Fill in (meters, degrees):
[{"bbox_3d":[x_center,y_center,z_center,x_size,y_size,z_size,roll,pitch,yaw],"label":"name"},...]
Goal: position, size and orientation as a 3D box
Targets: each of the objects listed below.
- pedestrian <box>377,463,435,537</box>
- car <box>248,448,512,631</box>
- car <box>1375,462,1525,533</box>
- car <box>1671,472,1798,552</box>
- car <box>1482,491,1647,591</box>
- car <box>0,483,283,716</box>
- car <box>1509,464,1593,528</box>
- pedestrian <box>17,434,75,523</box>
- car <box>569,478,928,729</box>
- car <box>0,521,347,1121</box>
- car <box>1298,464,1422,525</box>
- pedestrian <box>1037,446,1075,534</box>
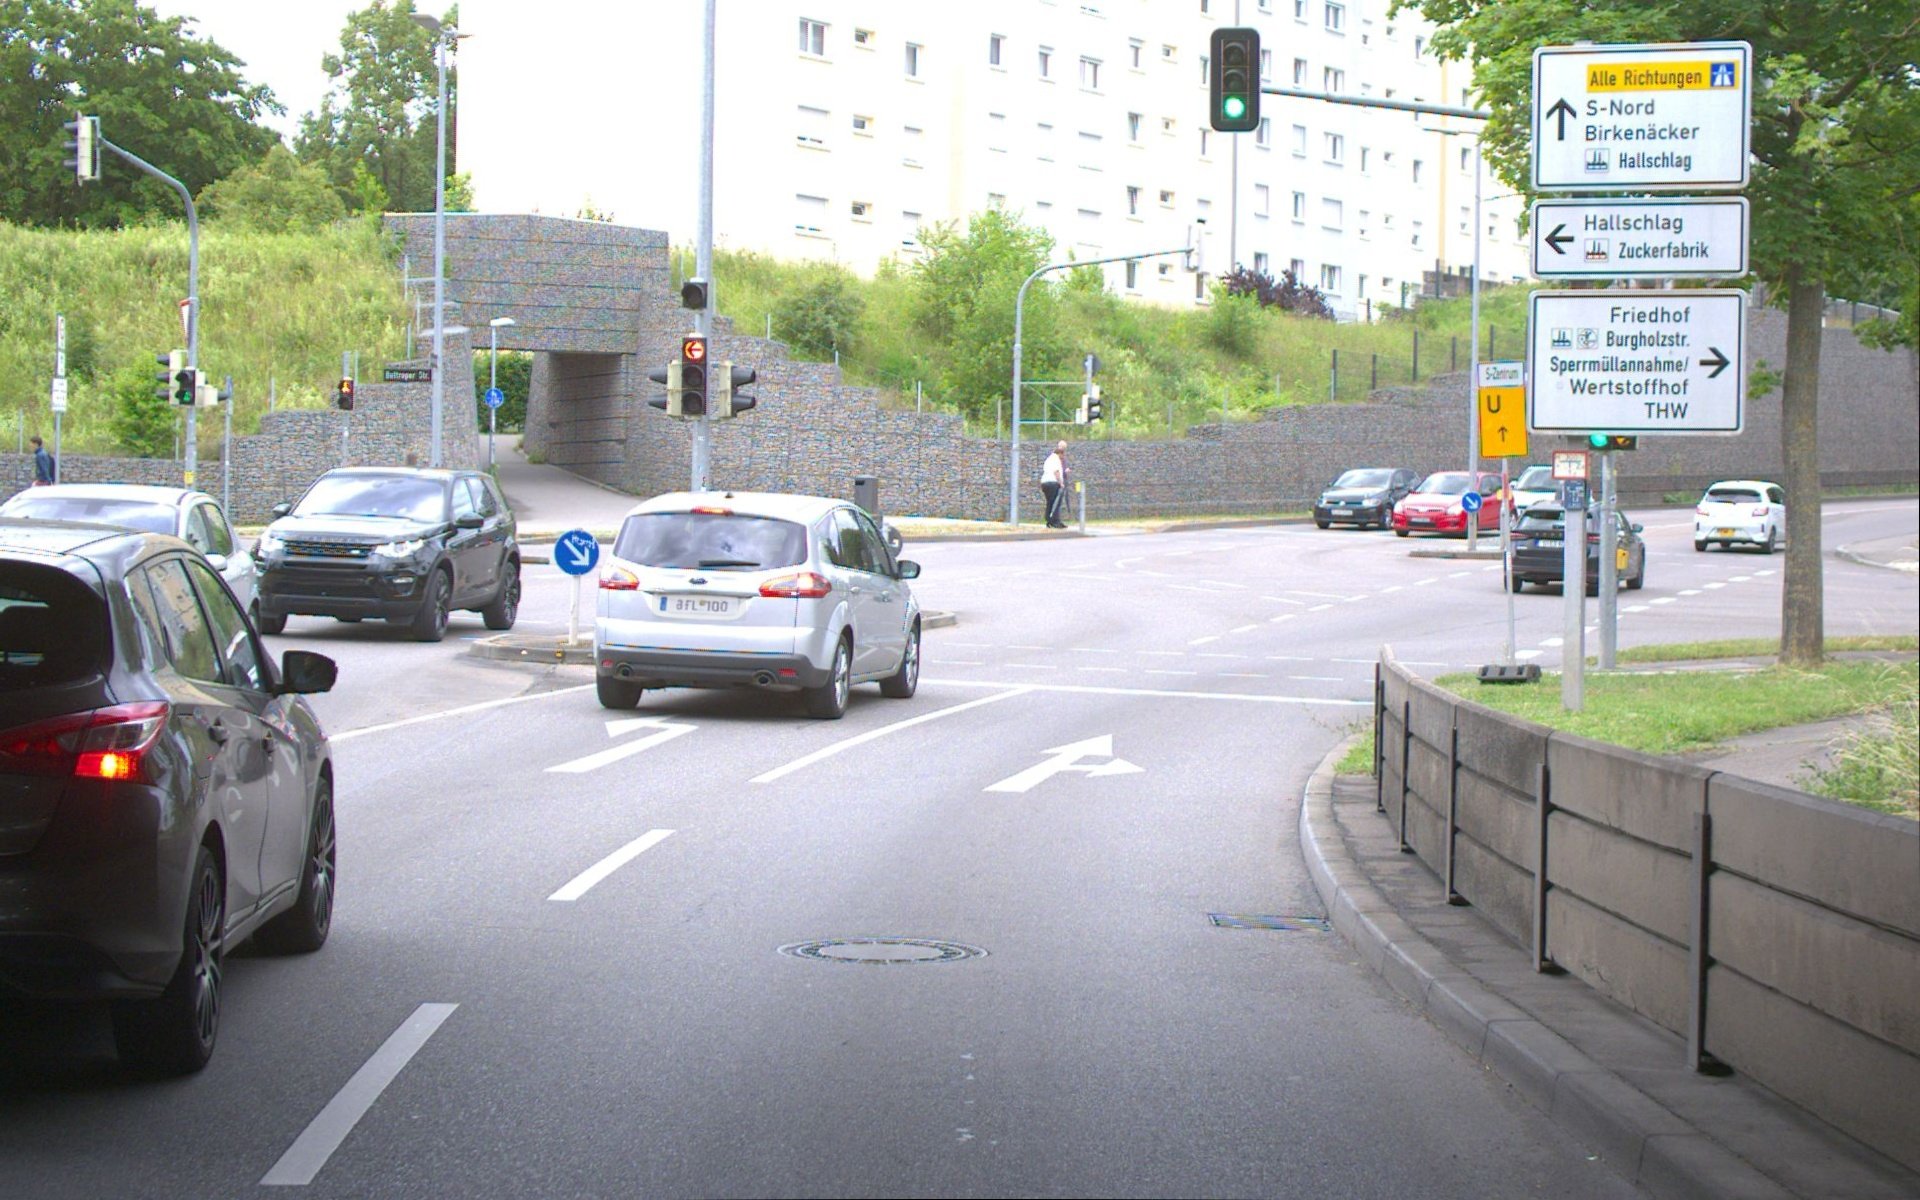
[{"bbox_3d":[-9.807,-1.770,60.811,0.910,1.219,0.729,4,2,-10],"label":"pedestrian"},{"bbox_3d":[-5.784,-0.635,34.762,1.993,1.692,4.168,1,2,-1],"label":"car"},{"bbox_3d":[11.080,-2.314,77.520,1.845,1.449,3.993,6,4,31],"label":"car"},{"bbox_3d":[16.495,-1.863,73.104,1.996,1.612,3.996,2,2,22],"label":"car"},{"bbox_3d":[9.666,-0.947,54.788,1.902,1.461,3.996,3,2,19],"label":"car"},{"bbox_3d":[-6.221,-0.065,25.771,1.763,1.586,4.001,1,2,-4],"label":"car"},{"bbox_3d":[14.282,-2.503,83.012,1.162,1.361,2.501,6,2,29],"label":"car"},{"bbox_3d":[-16.945,-2.249,63.750,0.952,1.607,0.700,2,2,-11],"label":"pedestrian"},{"bbox_3d":[-1.536,-0.024,26.403,1.831,1.700,3.867,3,2,10],"label":"car"},{"bbox_3d":[-3.047,0.506,10.599,1.844,1.488,4.001,1,1,-4],"label":"car"},{"bbox_3d":[9.470,-2.473,81.133,1.858,1.356,3.995,3,2,22],"label":"car"},{"bbox_3d":[2.039,-2.349,73.195,0.604,1.856,0.597,1,2,-14],"label":"pedestrian"}]
